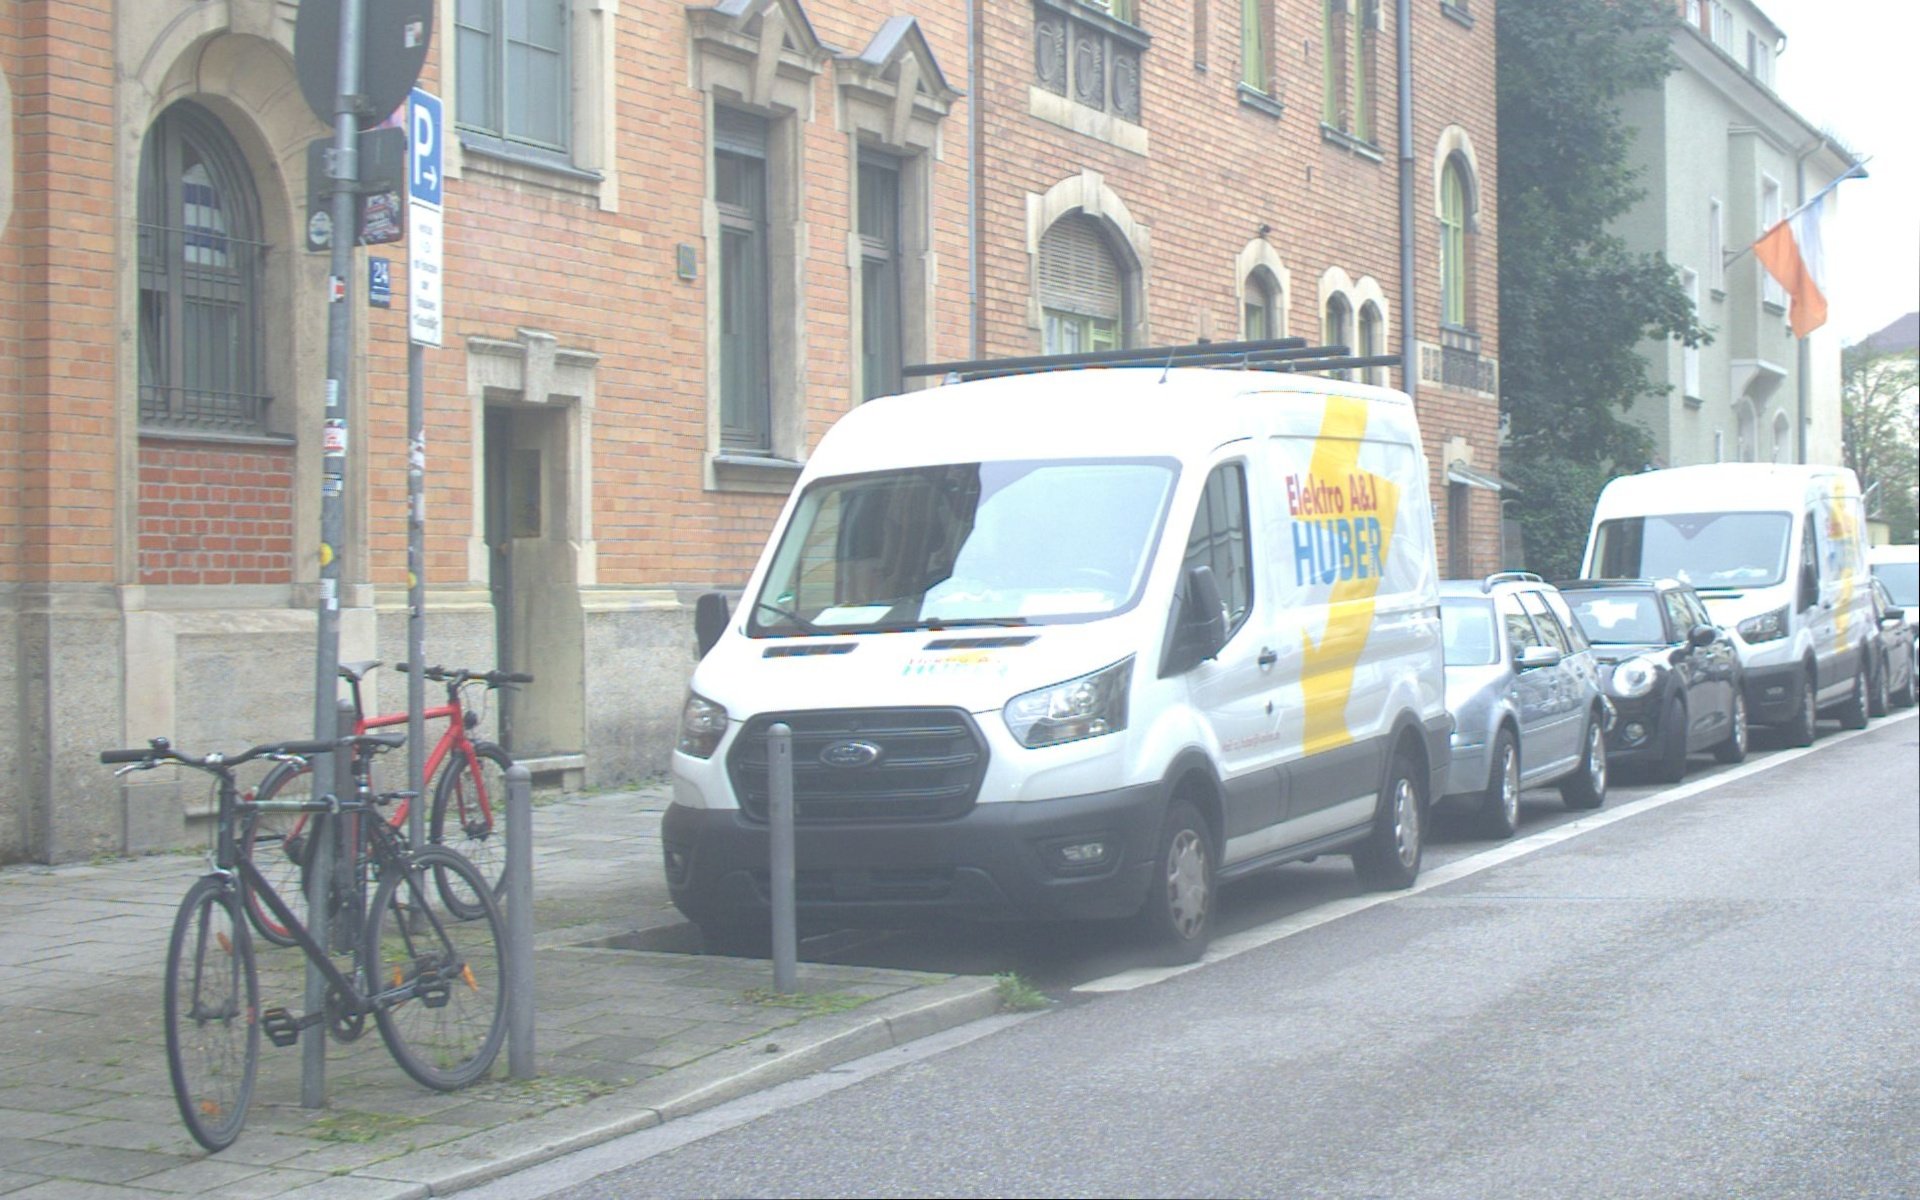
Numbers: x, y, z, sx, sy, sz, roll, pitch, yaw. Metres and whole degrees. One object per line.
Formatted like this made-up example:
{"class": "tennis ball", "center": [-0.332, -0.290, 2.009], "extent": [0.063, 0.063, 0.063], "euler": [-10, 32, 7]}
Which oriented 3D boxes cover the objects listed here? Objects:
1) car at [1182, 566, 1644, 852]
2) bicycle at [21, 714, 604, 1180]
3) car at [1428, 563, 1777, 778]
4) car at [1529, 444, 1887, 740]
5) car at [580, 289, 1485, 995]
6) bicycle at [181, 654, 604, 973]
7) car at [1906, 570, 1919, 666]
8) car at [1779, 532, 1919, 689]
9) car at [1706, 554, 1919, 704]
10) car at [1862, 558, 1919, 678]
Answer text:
{"class": "car", "center": [2.792, 0.584, 20.417], "extent": [1.691, 1.449, 3.992], "euler": [-3, 0, 22]}
{"class": "bicycle", "center": [-1.679, 0.869, 9.208], "extent": [0.580, 1.050, 1.760], "euler": [-1, 0, 26]}
{"class": "car", "center": [4.796, 0.474, 25.274], "extent": [1.700, 1.426, 3.825], "euler": [-2, 0, 23]}
{"class": "car", "center": [6.691, -0.077, 30.246], "extent": [2.139, 2.341, 5.364], "euler": [-1, 0, 22]}
{"class": "car", "center": [0.597, 0.160, 14.904], "extent": [1.994, 2.460, 5.465], "euler": [-3, -1, 22]}
{"class": "bicycle", "center": [-2.086, 0.757, 12.907], "extent": [0.580, 1.050, 1.892], "euler": [0, 1, 26]}
{"class": "car", "center": [14.917, 0.225, 50.506], "extent": [1.752, 1.364, 3.996], "euler": [-1, 0, 18]}
{"class": "car", "center": [10.680, 0.101, 39.898], "extent": [1.822, 1.705, 3.996], "euler": [-1, 0, 20]}
{"class": "car", "center": [8.939, 0.270, 35.593], "extent": [1.746, 1.440, 3.996], "euler": [-1, 0, 21]}
{"class": "car", "center": [13.185, 0.202, 46.086], "extent": [1.847, 1.535, 3.996], "euler": [-1, 0, 18]}
